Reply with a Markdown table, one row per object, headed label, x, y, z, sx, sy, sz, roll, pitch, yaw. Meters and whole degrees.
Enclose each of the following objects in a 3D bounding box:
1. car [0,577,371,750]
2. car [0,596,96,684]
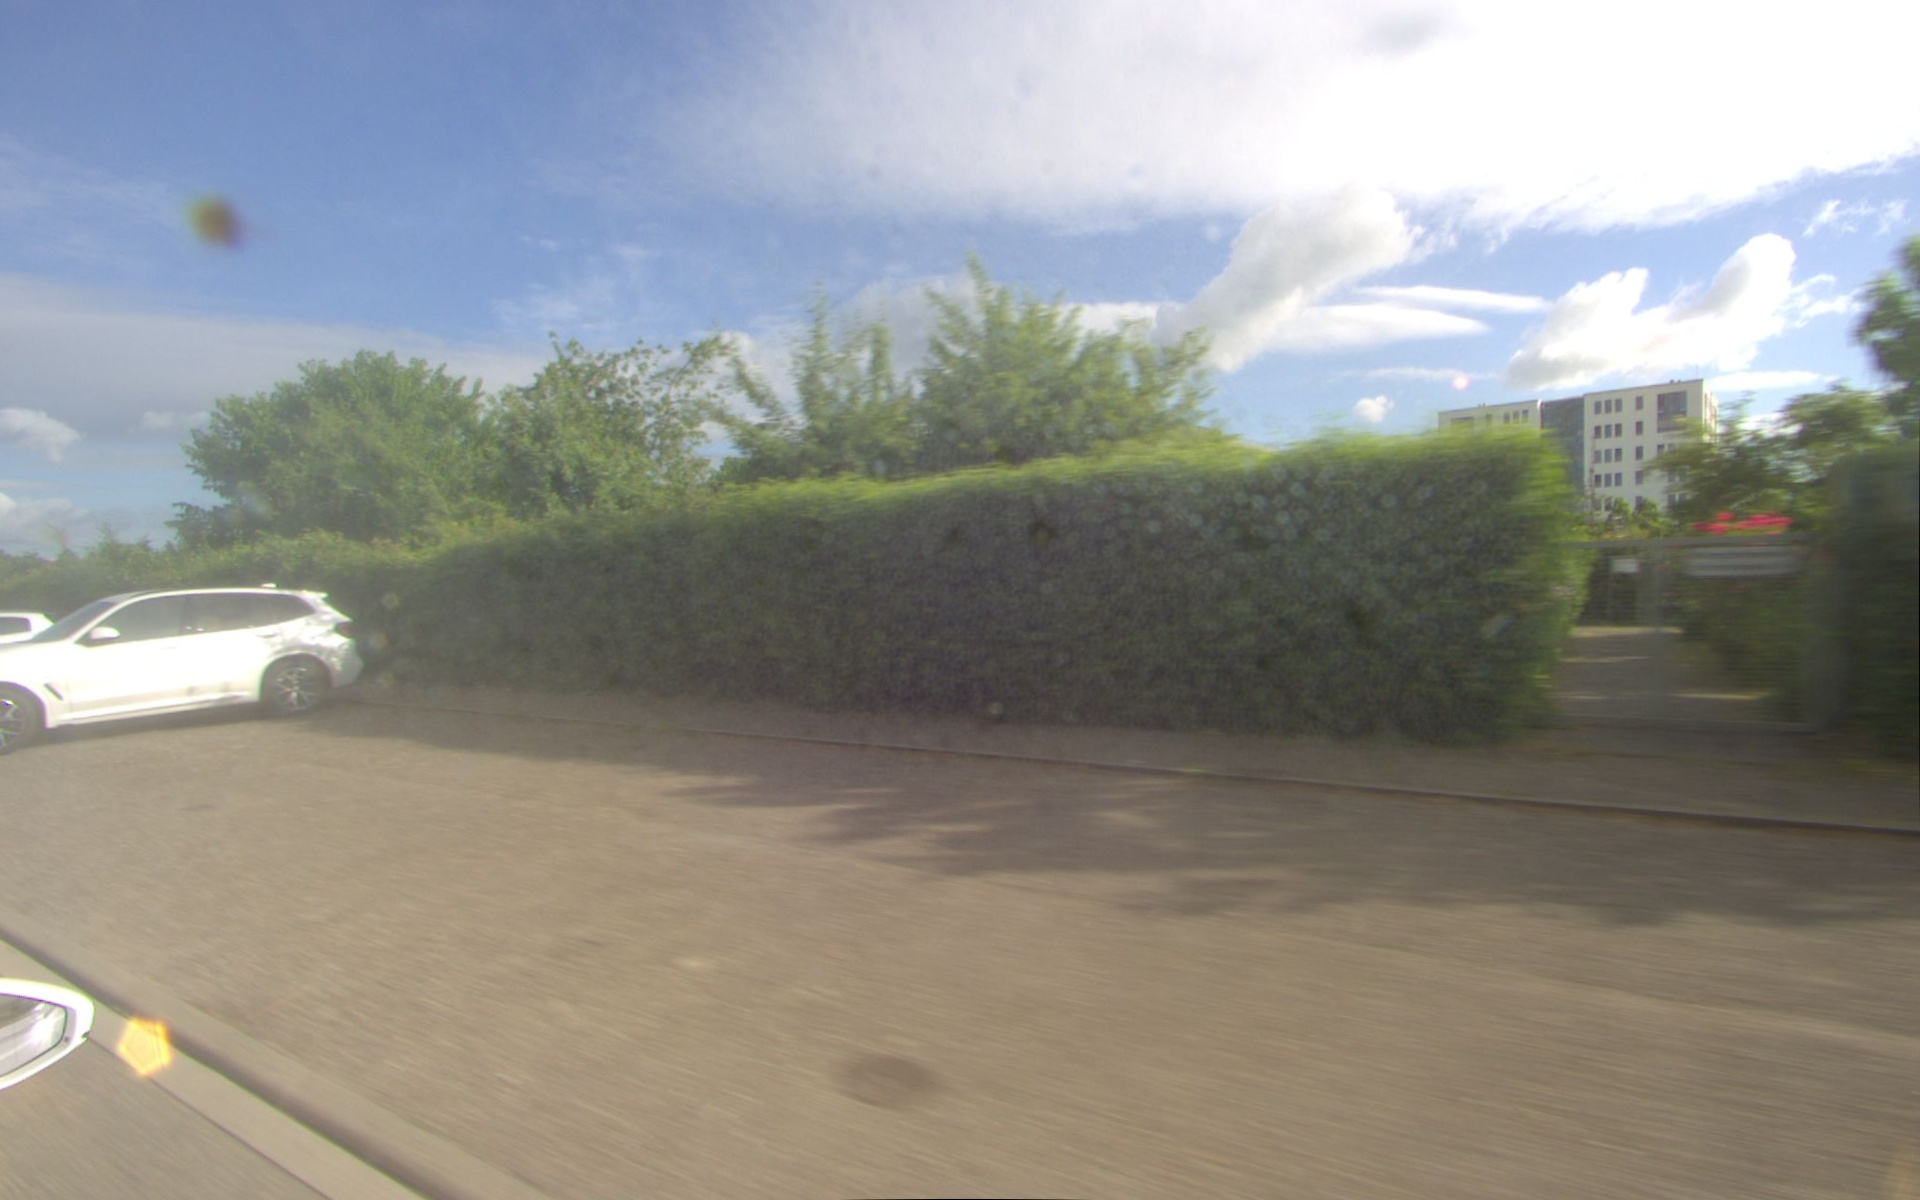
| label | x | y | z | sx | sy | sz | roll | pitch | yaw |
| --- | --- | --- | --- | --- | --- | --- | --- | --- | --- |
| car | -9.978 | 0.658 | 12.089 | 1.740 | 1.723 | 4.570 | 0 | 2 | 36 |
| car | -18.709 | 0.819 | 18.446 | 1.668 | 1.511 | 3.843 | 1 | 5 | 34 |
